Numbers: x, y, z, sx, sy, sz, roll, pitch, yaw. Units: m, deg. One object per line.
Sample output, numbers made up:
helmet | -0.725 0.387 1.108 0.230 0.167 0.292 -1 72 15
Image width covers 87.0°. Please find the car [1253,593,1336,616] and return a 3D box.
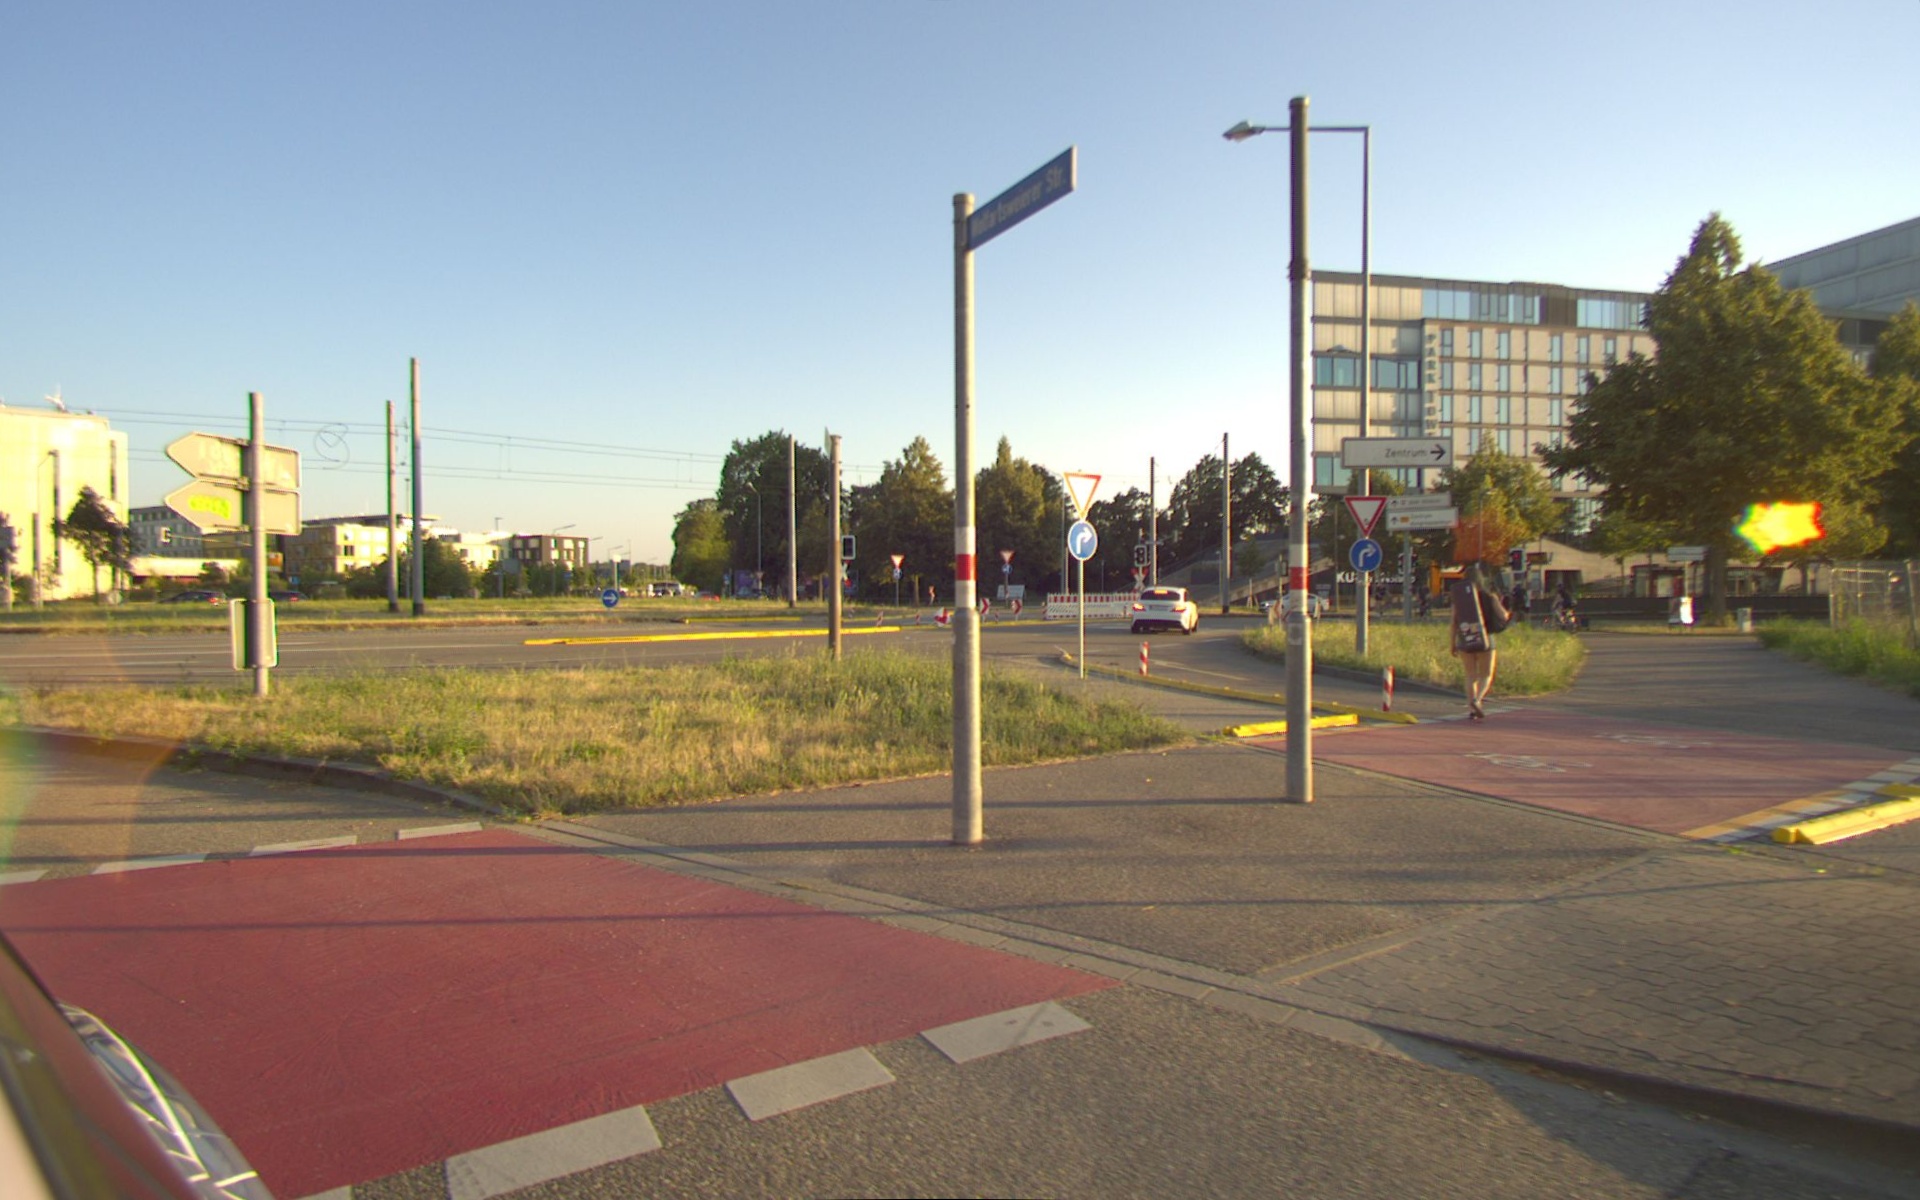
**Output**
car | 23.066 0.321 69.805 5.117 1.556 2.005 0 1 -11

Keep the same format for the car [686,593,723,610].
car | -22.372 0.090 88.443 1.911 1.443 4.609 0 0 -30

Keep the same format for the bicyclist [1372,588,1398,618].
bicyclist | 20.226 0.122 48.199 0.741 1.403 0.882 0 1 -21

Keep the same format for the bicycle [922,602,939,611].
bicycle | -2.509 0.534 87.347 1.408 0.797 0.470 0 0 21

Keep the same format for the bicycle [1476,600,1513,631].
bicycle | 21.377 0.609 40.502 0.747 1.175 2.399 0 1 14

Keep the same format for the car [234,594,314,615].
car | -49.282 0.307 72.789 4.333 1.443 1.948 0 0 -8

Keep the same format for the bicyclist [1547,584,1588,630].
bicyclist | 21.388 0.237 35.635 0.742 1.624 0.981 0 1 -16

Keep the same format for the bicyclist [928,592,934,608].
bicyclist | -2.497 0.008 87.333 0.445 1.408 0.470 0 0 21

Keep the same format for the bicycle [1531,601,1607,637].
bicycle | 21.408 0.657 35.648 0.742 1.175 2.417 0 1 -16

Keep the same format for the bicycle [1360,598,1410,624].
bicycle | 20.218 0.501 48.196 0.741 1.175 2.417 0 1 -21

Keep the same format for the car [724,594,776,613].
car | -16.894 0.288 81.324 4.319 1.443 1.918 0 0 42

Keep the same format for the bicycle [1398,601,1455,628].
bicycle | 21.111 0.652 45.853 0.741 1.175 2.417 0 1 -24

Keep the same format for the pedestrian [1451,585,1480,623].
pedestrian | 22.836 0.183 45.748 0.782 1.720 0.889 0 1 -5

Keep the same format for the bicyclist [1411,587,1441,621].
bicyclist | 21.091 0.182 45.846 0.741 1.536 0.982 0 1 -24

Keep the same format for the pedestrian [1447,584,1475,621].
pedestrian | 23.659 0.127 47.835 0.781 1.720 0.891 0 1 -18

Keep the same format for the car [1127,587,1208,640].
car | 6.576 0.356 31.652 2.057 1.464 4.631 1 1 17

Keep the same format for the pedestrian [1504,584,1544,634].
pedestrian | 21.056 0.329 37.791 0.969 1.841 1.158 0 1 10

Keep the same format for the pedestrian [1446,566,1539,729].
pedestrian | 5.831 0.487 11.134 0.841 1.699 0.880 0 1 24

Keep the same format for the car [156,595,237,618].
car | -51.961 0.419 68.911 4.195 1.512 1.842 0 1 0

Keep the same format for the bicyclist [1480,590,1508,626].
bicyclist | 21.364 0.303 40.487 0.747 1.404 0.974 0 1 14
